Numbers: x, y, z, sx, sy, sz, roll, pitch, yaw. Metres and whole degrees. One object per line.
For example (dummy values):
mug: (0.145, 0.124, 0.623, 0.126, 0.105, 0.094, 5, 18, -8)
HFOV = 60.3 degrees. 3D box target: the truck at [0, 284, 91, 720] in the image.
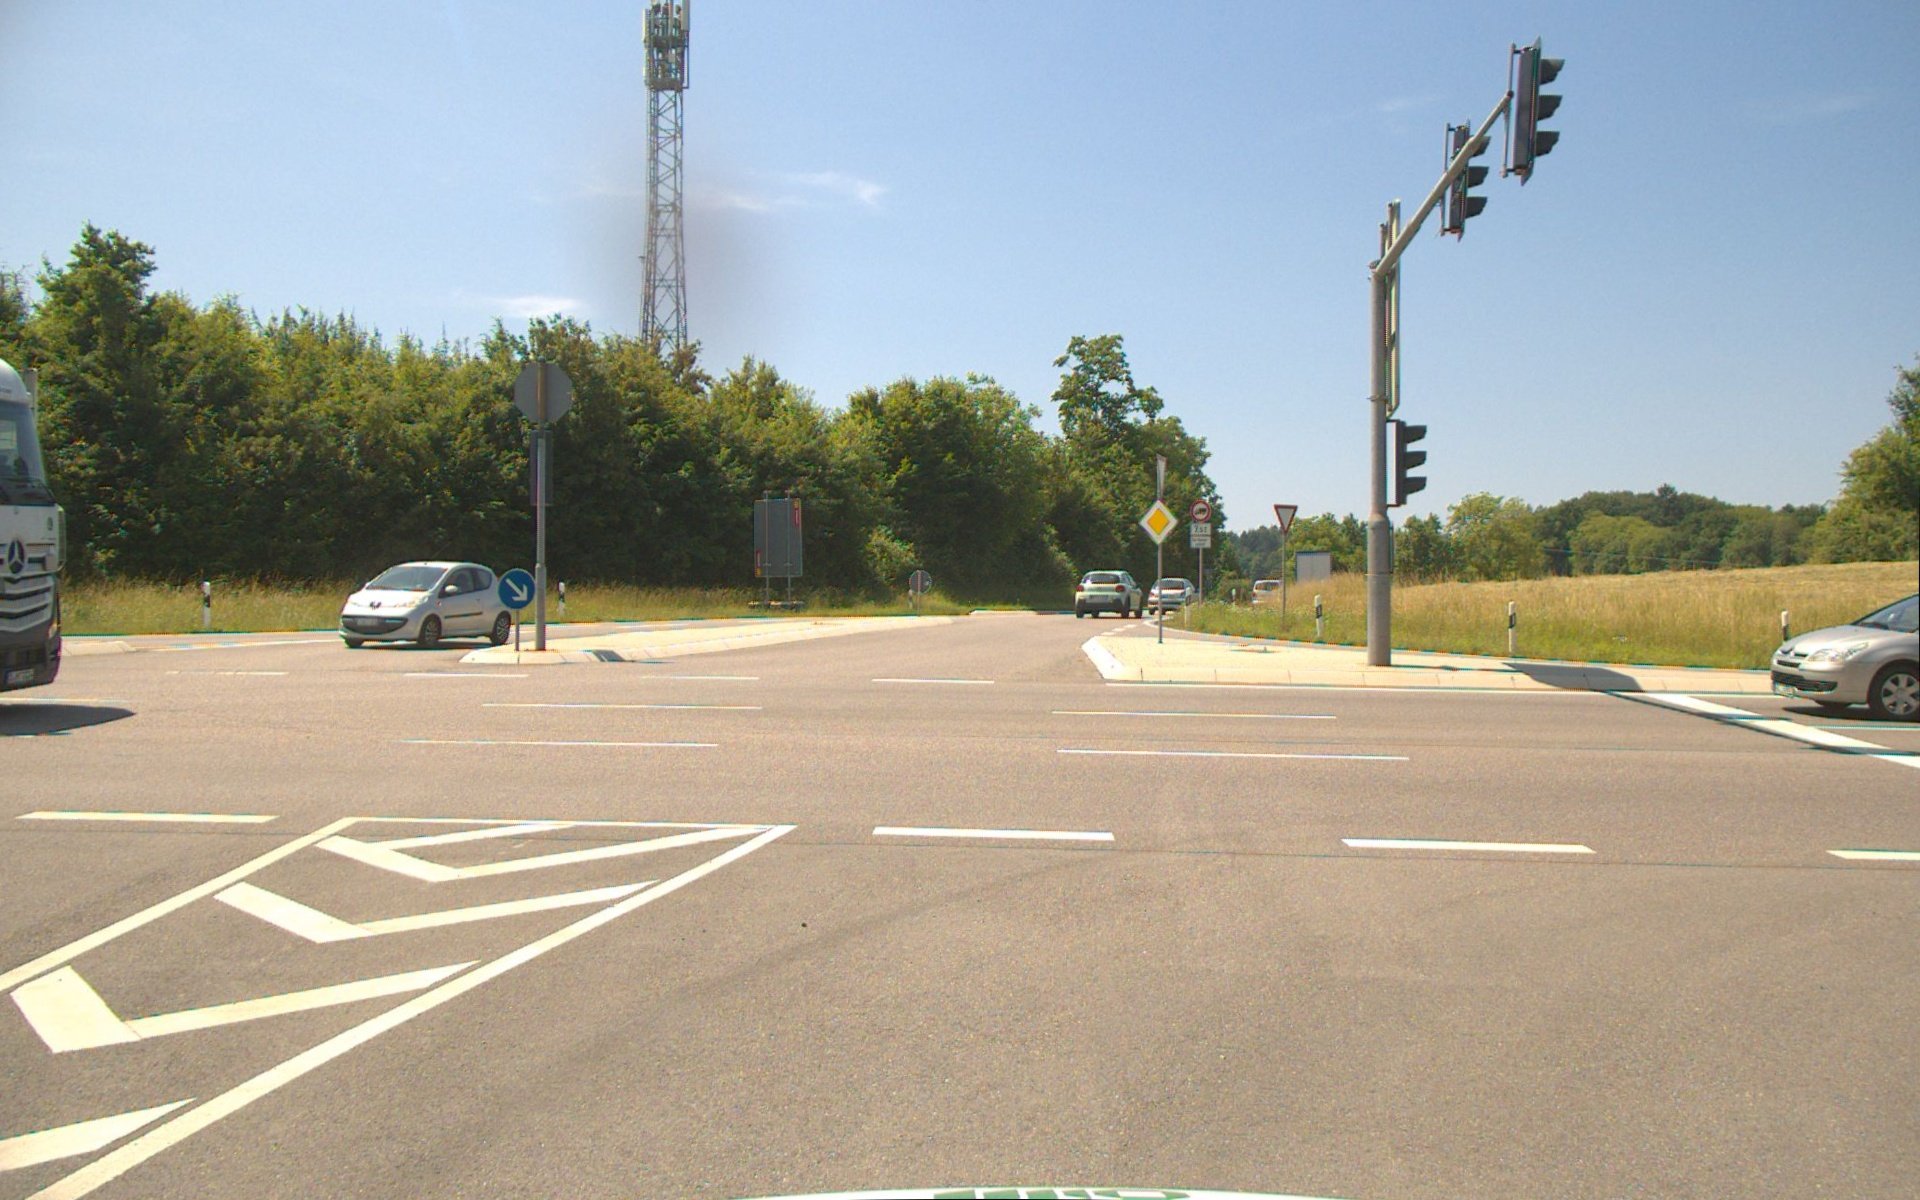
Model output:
truck: (-12.118, -0.950, 15.835, 6.136, 4.106, 2.660, 0, 1, -3)

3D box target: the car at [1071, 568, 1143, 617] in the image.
car: (4.747, -0.261, 53.029, 1.692, 1.428, 3.991, 2, 2, 13)

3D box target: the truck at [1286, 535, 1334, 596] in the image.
truck: (26.315, -2.477, 123.856, 3.059, 4.245, 16.701, 0, 1, 13)

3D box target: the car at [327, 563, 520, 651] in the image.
car: (-9.302, 0.073, 28.939, 1.532, 1.394, 3.534, 1, 2, 15)

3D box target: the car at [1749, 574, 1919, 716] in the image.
car: (11.463, 0.503, 18.872, 4.069, 1.495, 1.731, 1, 2, 4)

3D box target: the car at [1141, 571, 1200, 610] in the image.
car: (8.354, -0.397, 65.466, 1.774, 1.437, 3.787, 1, 2, 16)

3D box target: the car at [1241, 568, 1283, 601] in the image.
car: (16.322, -0.850, 89.283, 1.774, 1.653, 4.063, 0, 2, 17)
